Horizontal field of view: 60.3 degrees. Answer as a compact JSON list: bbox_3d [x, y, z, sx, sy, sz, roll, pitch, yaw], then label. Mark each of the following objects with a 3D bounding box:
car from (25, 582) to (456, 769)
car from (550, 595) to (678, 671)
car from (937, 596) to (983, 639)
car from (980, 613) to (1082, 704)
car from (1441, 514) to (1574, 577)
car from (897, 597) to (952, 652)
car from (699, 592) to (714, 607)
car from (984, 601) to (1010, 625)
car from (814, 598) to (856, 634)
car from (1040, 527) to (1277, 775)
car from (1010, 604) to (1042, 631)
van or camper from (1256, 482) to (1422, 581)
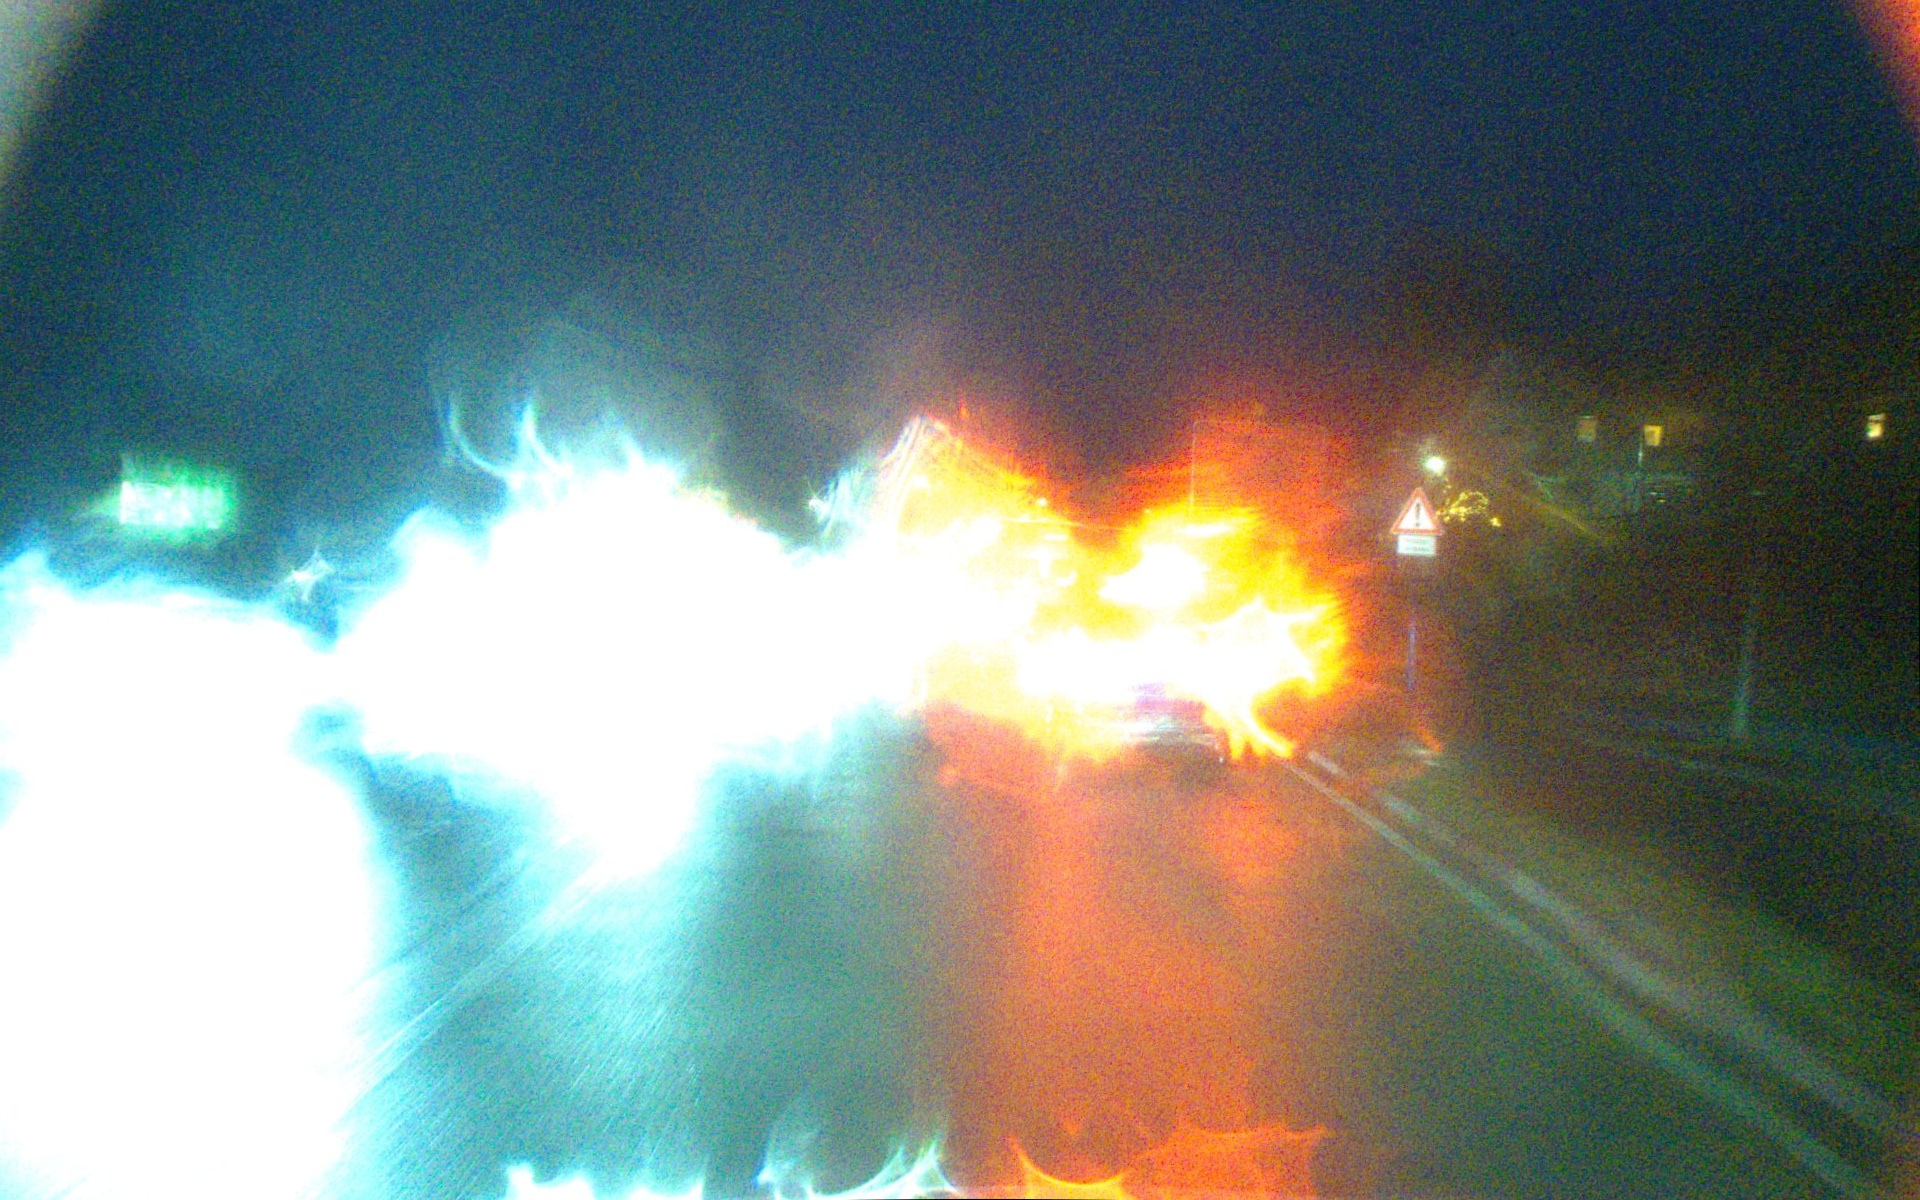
[{"bbox_3d":[-6.508,0.595,15.718,2.035,1.474,4.990,1,0,-2],"label":"car"},{"bbox_3d":[-7.221,0.650,34.934,1.879,1.469,4.544,1,0,-2],"label":"car"},{"bbox_3d":[0.022,0.675,66.991,1.673,1.666,3.732,-1,0,3],"label":"car"},{"bbox_3d":[1.346,1.017,30.539,1.731,1.475,4.220,1,0,4],"label":"car"},{"bbox_3d":[15.477,-1.509,46.973,1.609,1.646,4.117,1,0,-15],"label":"car"},{"bbox_3d":[-1.101,0.764,52.786,1.660,1.658,3.852,1,-1,0],"label":"car"},{"bbox_3d":[-34.107,-0.068,222.481,1.956,1.945,4.734,1,0,-8],"label":"car"},{"bbox_3d":[2.393,0.844,106.249,1.629,1.475,4.051,1,-1,2],"label":"car"},{"bbox_3d":[-5.369,0.661,71.282,1.661,1.459,4.291,1,0,-3],"label":"car"},{"bbox_3d":[1.729,0.407,15.711,1.902,2.006,4.219,1,0,2],"label":"car"},{"bbox_3d":[3.699,0.988,92.464,1.628,1.475,4.052,0,-1,4],"label":"car"},{"bbox_3d":[12.243,-2.138,54.057,2.539,2.959,6.329,0,0,-17],"label":"van or camper"}]
